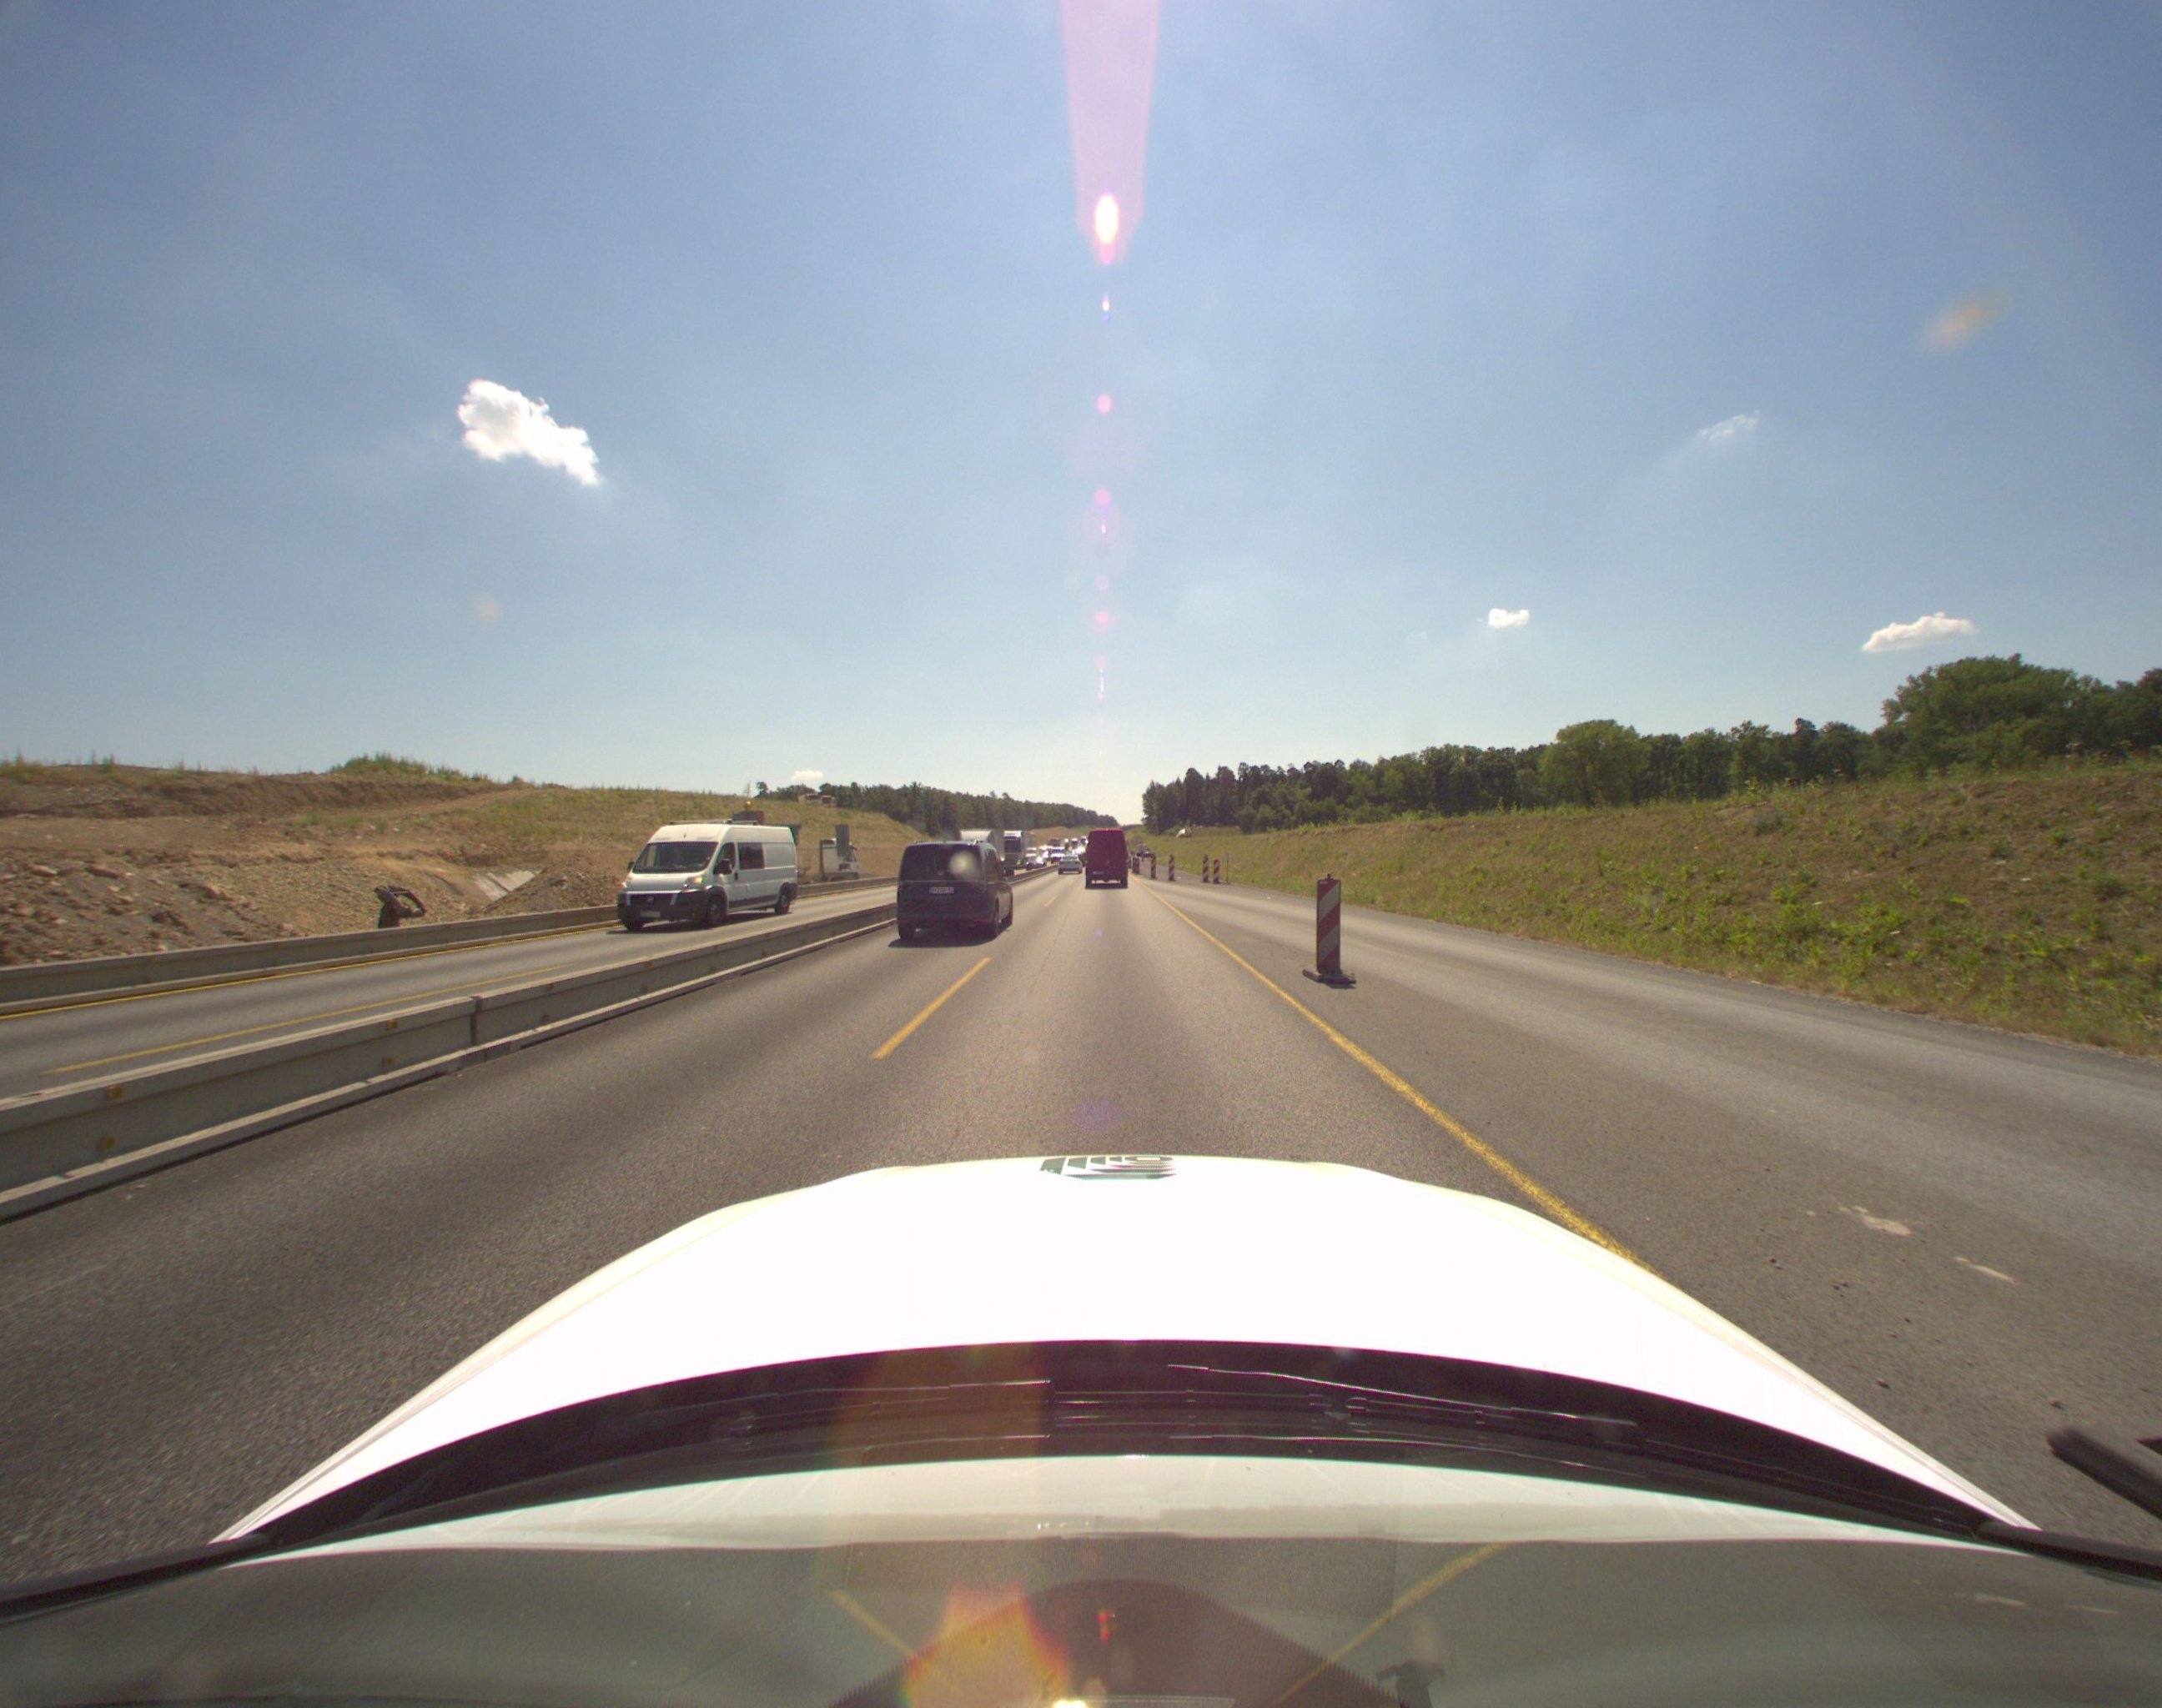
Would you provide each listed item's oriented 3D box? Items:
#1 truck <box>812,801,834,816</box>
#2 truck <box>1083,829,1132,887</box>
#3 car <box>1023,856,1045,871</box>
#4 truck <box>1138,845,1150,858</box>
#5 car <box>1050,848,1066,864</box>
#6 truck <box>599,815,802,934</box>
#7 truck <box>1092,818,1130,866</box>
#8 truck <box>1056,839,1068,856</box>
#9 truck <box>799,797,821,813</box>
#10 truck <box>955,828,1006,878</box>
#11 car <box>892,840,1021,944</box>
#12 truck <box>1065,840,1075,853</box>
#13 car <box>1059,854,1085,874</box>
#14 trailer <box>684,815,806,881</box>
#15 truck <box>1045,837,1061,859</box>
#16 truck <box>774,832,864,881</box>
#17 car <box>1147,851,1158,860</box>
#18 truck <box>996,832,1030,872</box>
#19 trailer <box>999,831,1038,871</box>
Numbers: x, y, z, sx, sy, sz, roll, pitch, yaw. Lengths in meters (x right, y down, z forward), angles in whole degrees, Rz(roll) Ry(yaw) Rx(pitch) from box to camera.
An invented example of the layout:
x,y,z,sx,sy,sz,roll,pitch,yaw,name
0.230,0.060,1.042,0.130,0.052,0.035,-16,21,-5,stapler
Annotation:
x,y,z,sx,sy,sz,roll,pitch,yaw,name
-57.663,-10.141,181.986,2.311,2.749,8.812,0,-1,-34,truck
1.214,0.184,38.957,2.145,2.590,5.334,0,0,1,truck
-4.495,0.926,78.884,1.852,1.442,4.499,0,0,-1,car
13.053,-0.540,168.476,2.117,2.457,5.940,0,1,9,truck
-3.202,0.265,115.723,1.986,2.292,5.344,0,0,1,car
-9.262,0.379,20.703,2.091,2.569,6.356,0,1,1,truck
3.742,-1.359,102.402,4.384,5.496,16.609,0,0,2,truck
-4.666,-1.517,199.104,2.583,4.053,5.150,0,0,1,truck
-58.055,-10.405,174.098,2.371,2.898,8.279,0,-1,-34,truck
-7.853,-0.026,64.844,2.635,3.716,9.485,0,0,2,truck
-2.365,0.647,16.689,1.745,1.824,4.784,0,0,2,car
-3.431,-2.263,258.838,2.758,4.044,4.946,0,-1,2,truck
-0.689,0.759,63.765,1.824,1.522,3.962,0,0,2,car
-22.156,-0.347,53.589,8.263,4.098,2.817,-1,-1,29,trailer
-5.480,-1.201,160.033,2.480,4.198,5.918,-2,0,4,truck
-16.779,0.175,52.168,5.080,2.964,2.561,0,-1,-32,truck
13.188,0.235,150.357,1.647,1.426,4.548,-3,1,2,car
-7.111,-0.198,85.580,2.838,4.018,4.860,-2,-1,1,truck
-6.949,-0.268,92.941,2.844,4.093,13.656,-2,-1,2,trailer
